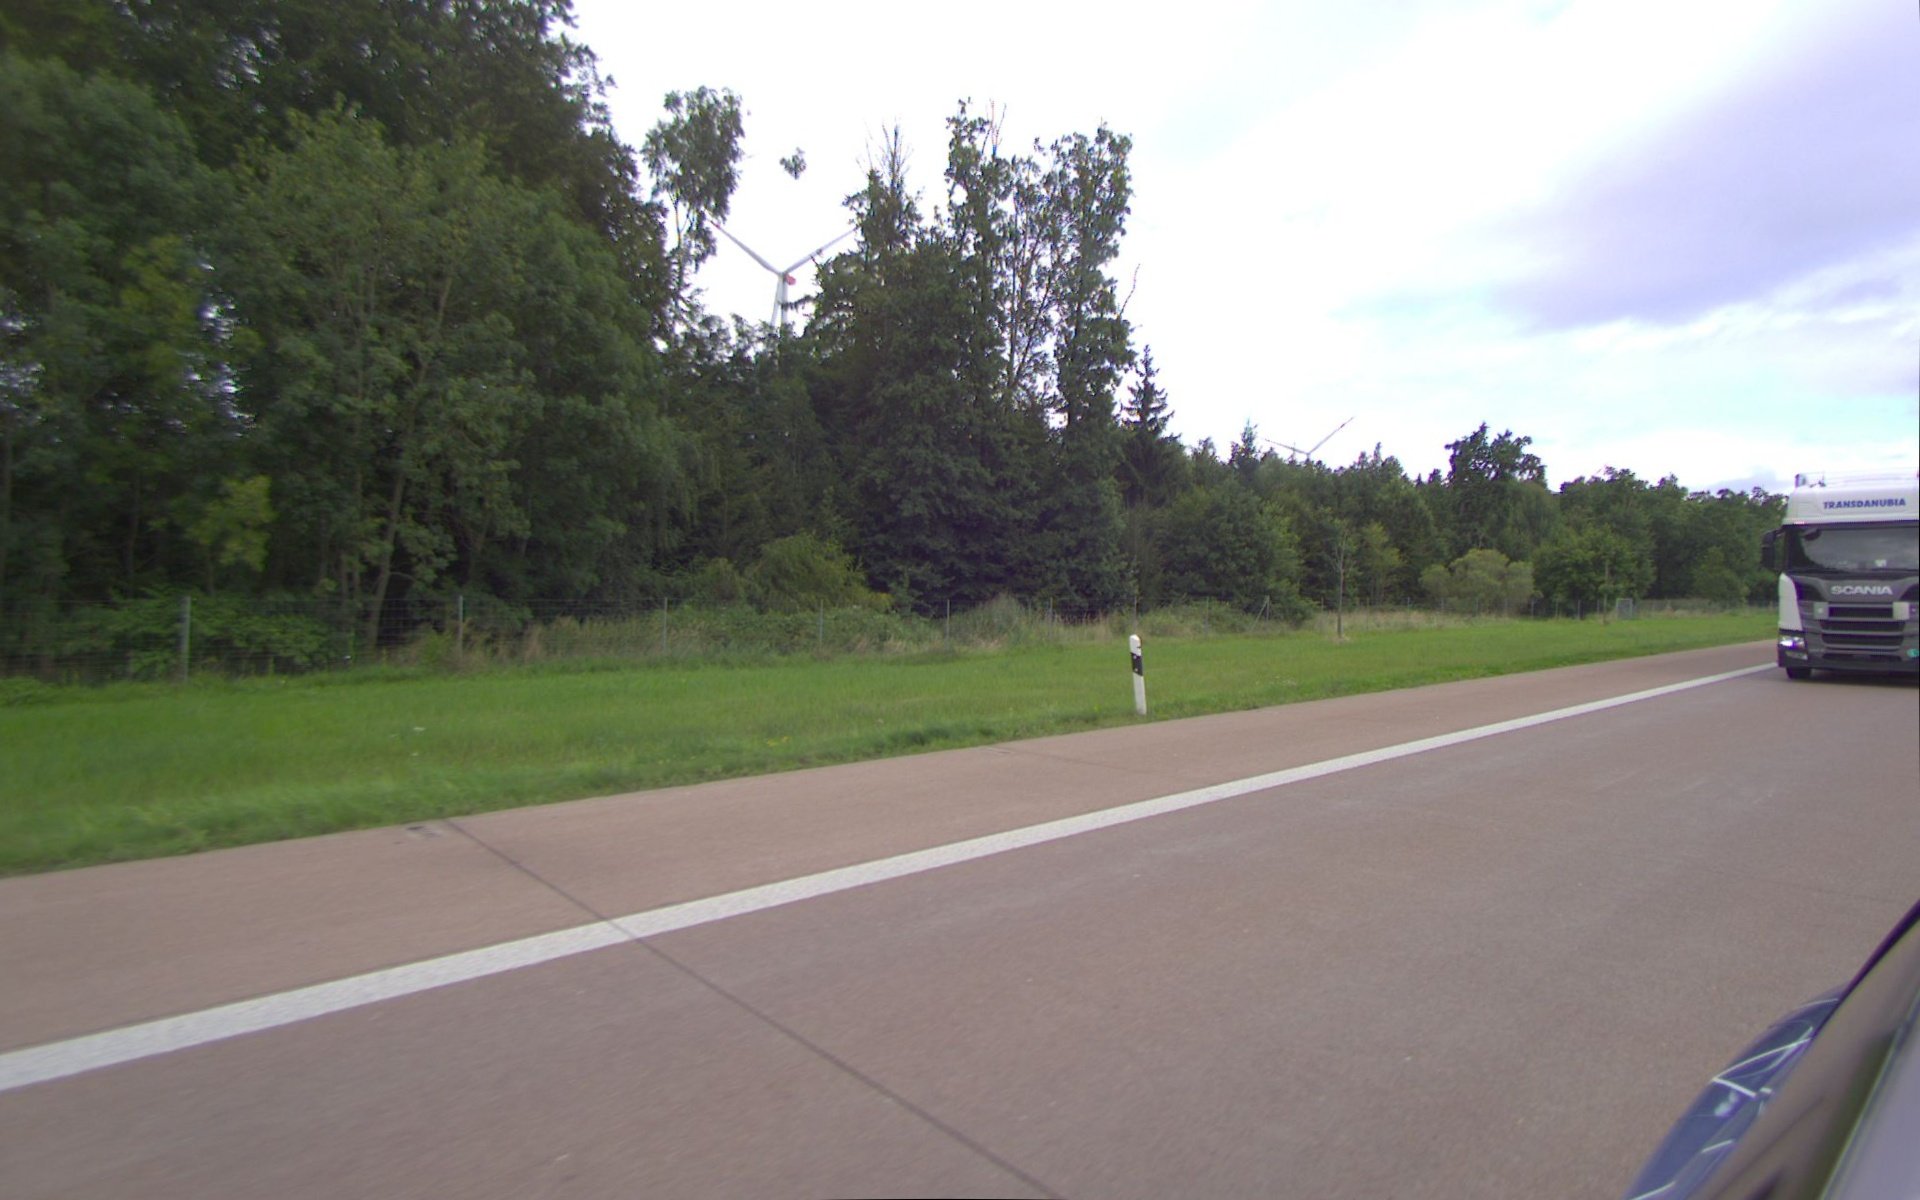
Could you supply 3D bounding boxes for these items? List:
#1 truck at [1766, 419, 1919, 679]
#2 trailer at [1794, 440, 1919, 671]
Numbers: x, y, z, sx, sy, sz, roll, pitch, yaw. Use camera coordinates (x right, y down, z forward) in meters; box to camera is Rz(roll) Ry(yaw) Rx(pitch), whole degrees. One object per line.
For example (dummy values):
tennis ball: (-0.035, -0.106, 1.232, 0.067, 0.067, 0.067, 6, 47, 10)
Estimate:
truck: (17.623, -0.872, 19.172, 5.244, 4.348, 2.925, 0, 0, -43)
trailer: (22.685, -0.862, 23.837, 13.382, 4.348, 2.925, 0, 1, -43)
